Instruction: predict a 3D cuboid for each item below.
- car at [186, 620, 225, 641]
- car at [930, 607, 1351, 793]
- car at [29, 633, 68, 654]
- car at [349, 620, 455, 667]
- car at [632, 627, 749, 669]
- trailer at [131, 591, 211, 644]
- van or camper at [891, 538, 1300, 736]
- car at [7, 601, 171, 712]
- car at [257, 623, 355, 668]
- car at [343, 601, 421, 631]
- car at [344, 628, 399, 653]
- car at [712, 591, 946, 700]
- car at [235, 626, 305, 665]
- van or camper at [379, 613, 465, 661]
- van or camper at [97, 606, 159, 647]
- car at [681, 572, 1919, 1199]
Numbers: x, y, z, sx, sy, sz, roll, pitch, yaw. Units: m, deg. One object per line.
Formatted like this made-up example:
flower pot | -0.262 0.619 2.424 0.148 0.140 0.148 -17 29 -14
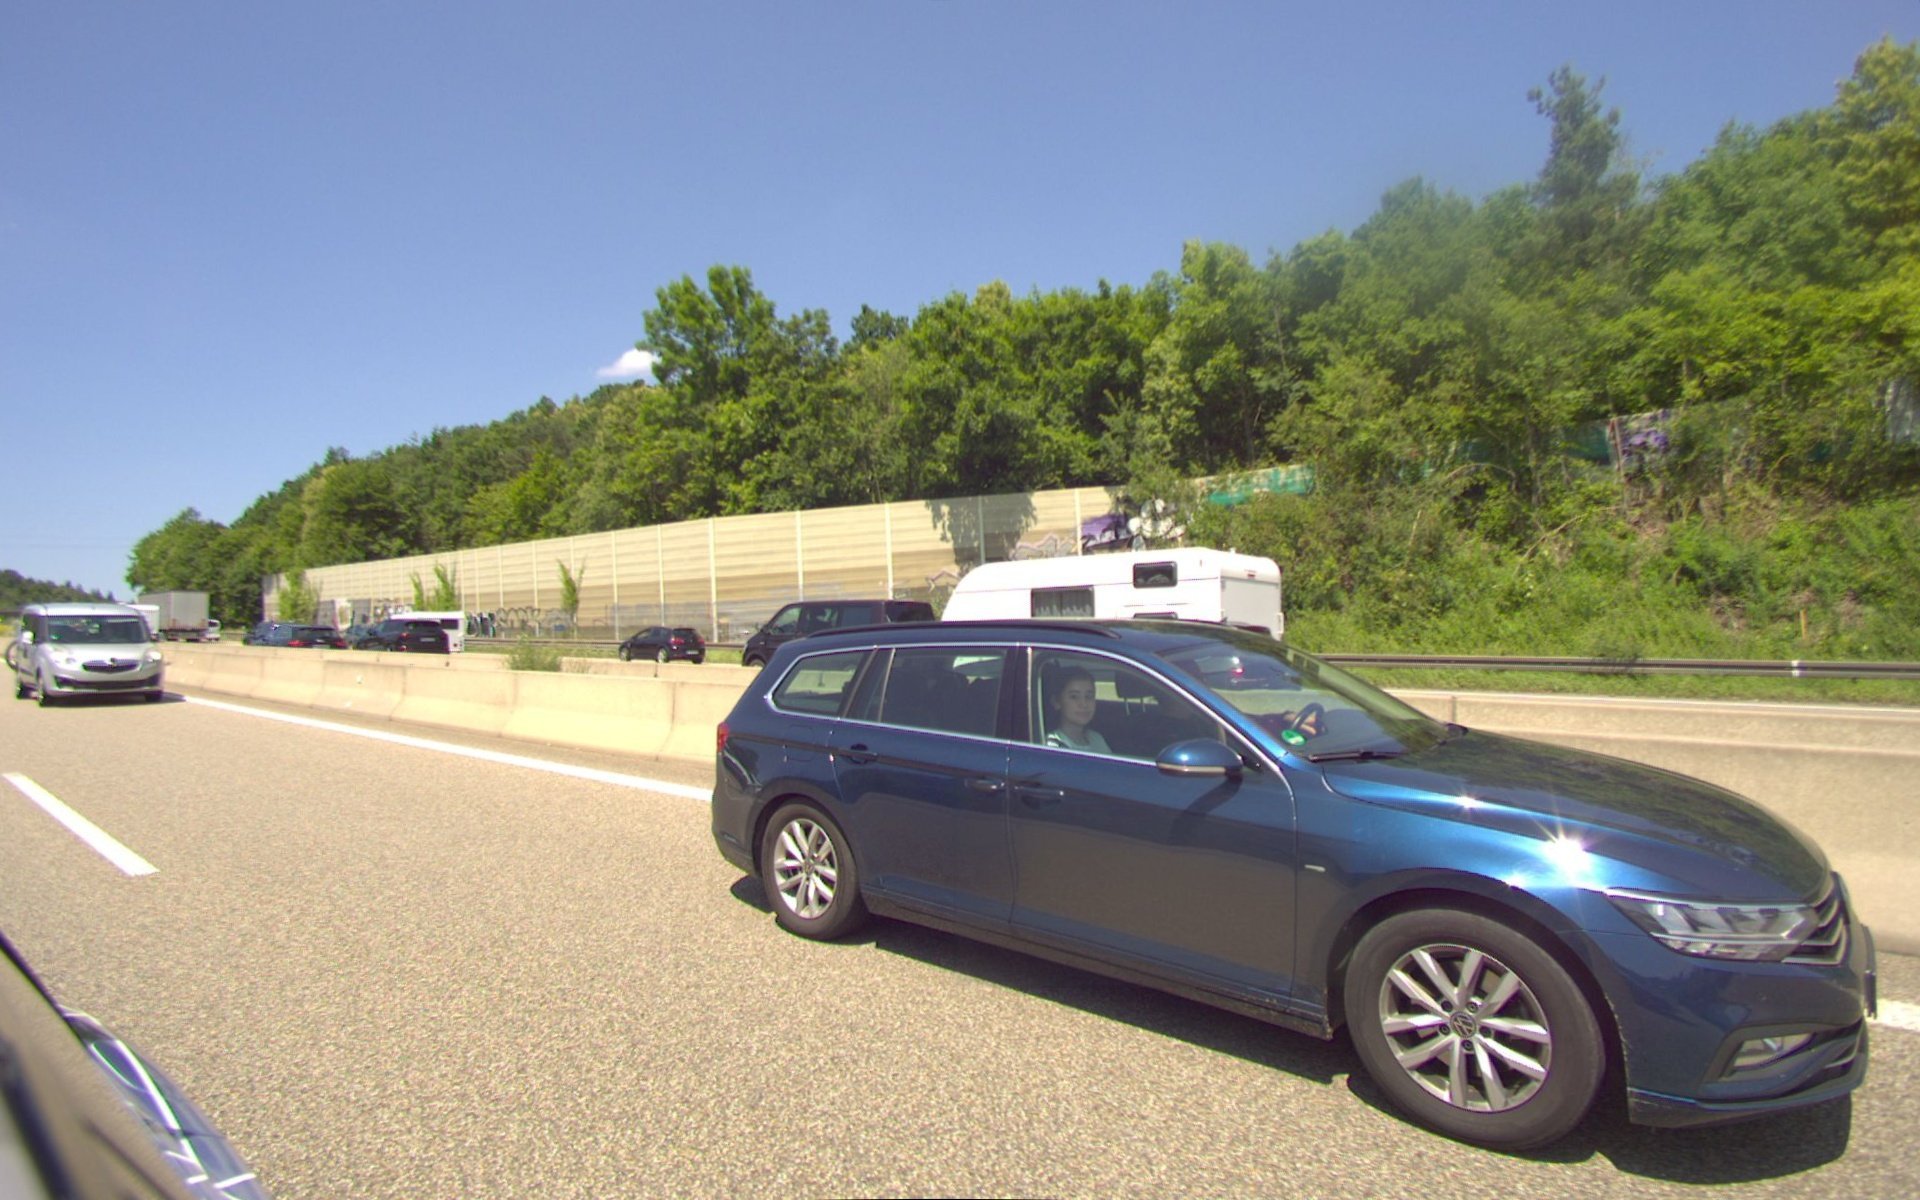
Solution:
car | -67.375 2.689 90.317 5.105 1.824 1.790 -1 -2 42
car | 2.007 1.026 12.194 4.692 1.815 1.926 -1 -2 41
car | -69.549 3.334 77.221 4.126 1.549 1.693 -2 -2 41
car | -21.031 1.601 38.060 4.925 1.652 1.905 -2 -2 41
car | -10.075 1.751 37.710 4.692 1.446 1.926 -1 -2 41
trailer | -63.194 1.408 80.880 13.826 3.938 2.782 -1 -2 43
van or camper | 2.042 0.603 17.345 6.831 2.782 2.208 -1 -2 40
car | -16.372 1.012 18.963 3.998 1.858 1.757 -2 -2 41
car | -21.534 1.468 33.265 4.268 1.386 1.597 -2 -2 41
car | -27.450 0.801 48.006 4.721 1.357 1.782 -2 -2 41
car | -35.104 2.389 60.329 4.387 1.473 1.561 -2 -2 42
car | -2.870 0.901 21.349 5.190 2.029 1.973 -1 -2 41
car | -31.759 2.062 46.546 4.194 1.696 1.675 -2 -2 41
van or camper | -23.383 1.609 43.965 3.702 1.992 2.055 -2 -2 40
van or camper | -59.111 1.864 71.819 6.802 2.756 2.246 -1 -2 41
car | 0.942 0.719 4.118 4.728 1.438 1.714 -1 -2 41
